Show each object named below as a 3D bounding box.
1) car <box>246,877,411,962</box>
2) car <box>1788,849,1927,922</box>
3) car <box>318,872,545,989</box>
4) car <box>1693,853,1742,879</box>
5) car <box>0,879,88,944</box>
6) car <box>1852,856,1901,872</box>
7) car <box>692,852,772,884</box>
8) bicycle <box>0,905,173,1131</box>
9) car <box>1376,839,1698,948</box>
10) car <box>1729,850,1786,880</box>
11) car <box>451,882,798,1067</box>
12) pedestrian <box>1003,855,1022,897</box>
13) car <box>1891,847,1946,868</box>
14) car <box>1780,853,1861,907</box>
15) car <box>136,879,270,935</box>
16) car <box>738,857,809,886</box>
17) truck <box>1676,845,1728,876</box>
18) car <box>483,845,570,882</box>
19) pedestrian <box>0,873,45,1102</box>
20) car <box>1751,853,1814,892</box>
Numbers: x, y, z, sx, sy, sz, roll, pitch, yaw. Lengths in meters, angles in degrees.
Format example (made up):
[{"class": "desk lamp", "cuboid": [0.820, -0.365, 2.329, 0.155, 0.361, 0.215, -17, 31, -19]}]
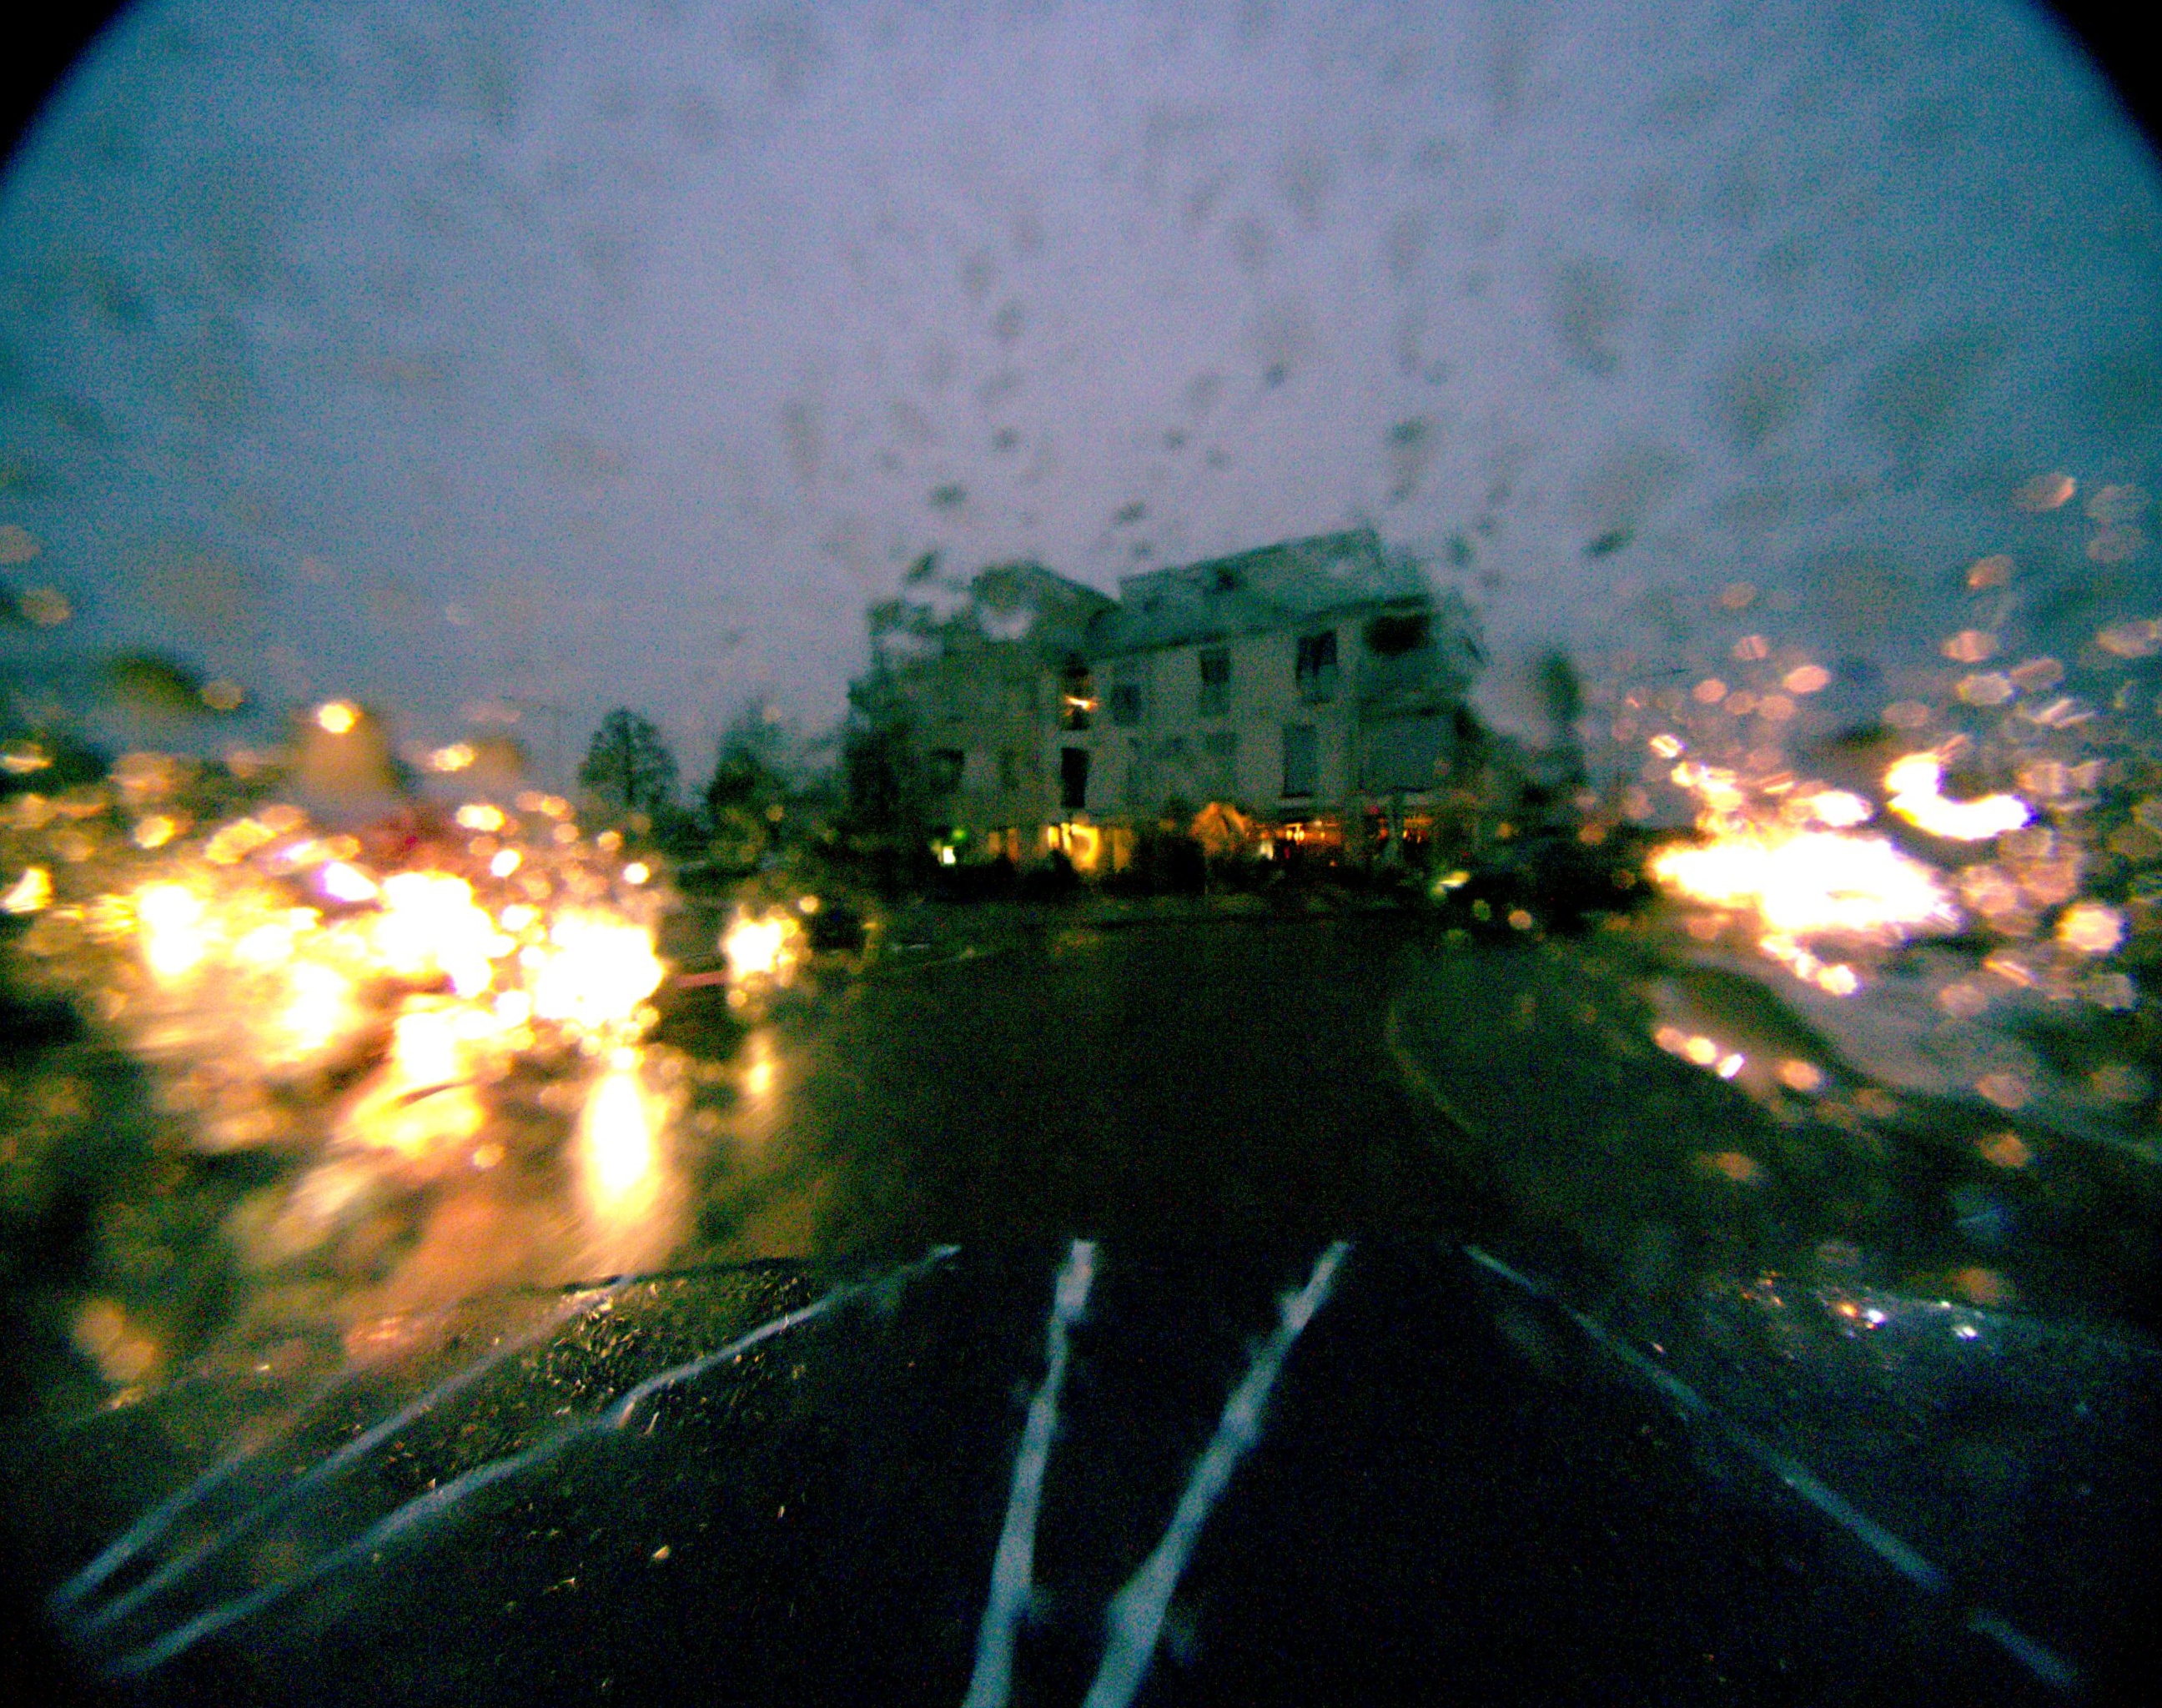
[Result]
[{"class": "car", "cuboid": [-16.083, 1.294, 16.187, 4.246, 1.499, 1.700, -1, 1, 35]}, {"class": "car", "cuboid": [19.314, 0.690, 19.098, 1.883, 1.570, 4.008, 3, 2, 38]}, {"class": "car", "cuboid": [-10.662, 1.148, 12.402, 3.989, 1.543, 1.700, -2, 1, 33]}, {"class": "car", "cuboid": [40.104, 0.715, 47.928, 1.830, 1.535, 3.722, -1, 0, 31]}, {"class": "car", "cuboid": [-27.357, 1.429, 19.582, 3.989, 1.520, 1.668, -1, 0, 31]}, {"class": "car", "cuboid": [78.446, 0.955, 74.996, 1.672, 1.460, 4.023, 2, 0, 20]}, {"class": "car", "cuboid": [-17.242, 0.704, 37.522, 3.757, 1.507, 1.719, -1, 0, 31]}, {"class": "bicycle", "cuboid": [-7.331, 1.060, 5.373, 0.552, 1.288, 1.938, 1, -1, -31]}, {"class": "car", "cuboid": [7.901, 0.626, 13.410, 4.631, 1.584, 1.952, -2, 1, -7]}, {"class": "car", "cuboid": [34.052, 0.548, 38.341, 1.737, 1.434, 4.008, -1, -1, 36]}, {"class": "car", "cuboid": [-5.120, 1.087, 8.289, 4.223, 1.376, 1.854, -2, 2, 39]}, {"class": "pedestrian", "cuboid": [-2.434, 0.774, 26.935, 0.451, 1.446, 0.554, 0, 0, 24]}, {"class": "car", "cuboid": [76.253, 0.310, 69.251, 1.795, 1.816, 4.264, 0, 0, 23]}, {"class": "car", "cuboid": [23.947, 0.780, 24.716, 1.678, 1.614, 4.008, -1, 0, 41]}, {"class": "car", "cuboid": [-26.198, 1.519, 22.662, 3.989, 1.445, 1.886, -1, 0, 30]}, {"class": "car", "cuboid": [-16.180, 0.921, 40.000, 3.435, 1.465, 1.522, -1, 0, 26]}, {"class": "truck", "cuboid": [47.183, 0.467, 57.870, 2.243, 2.217, 6.116, -1, 0, 32]}, {"class": "car", "cuboid": [-31.755, 0.529, 43.499, 4.846, 2.002, 2.218, -1, 0, 31]}, {"class": "pedestrian", "cuboid": [-7.683, 0.912, 5.122, 0.611, 1.555, 0.690, 0, 0, -32]}, {"class": "car", "cuboid": [28.346, 0.734, 30.789, 1.568, 1.460, 3.624, -2, -1, 38]}]
